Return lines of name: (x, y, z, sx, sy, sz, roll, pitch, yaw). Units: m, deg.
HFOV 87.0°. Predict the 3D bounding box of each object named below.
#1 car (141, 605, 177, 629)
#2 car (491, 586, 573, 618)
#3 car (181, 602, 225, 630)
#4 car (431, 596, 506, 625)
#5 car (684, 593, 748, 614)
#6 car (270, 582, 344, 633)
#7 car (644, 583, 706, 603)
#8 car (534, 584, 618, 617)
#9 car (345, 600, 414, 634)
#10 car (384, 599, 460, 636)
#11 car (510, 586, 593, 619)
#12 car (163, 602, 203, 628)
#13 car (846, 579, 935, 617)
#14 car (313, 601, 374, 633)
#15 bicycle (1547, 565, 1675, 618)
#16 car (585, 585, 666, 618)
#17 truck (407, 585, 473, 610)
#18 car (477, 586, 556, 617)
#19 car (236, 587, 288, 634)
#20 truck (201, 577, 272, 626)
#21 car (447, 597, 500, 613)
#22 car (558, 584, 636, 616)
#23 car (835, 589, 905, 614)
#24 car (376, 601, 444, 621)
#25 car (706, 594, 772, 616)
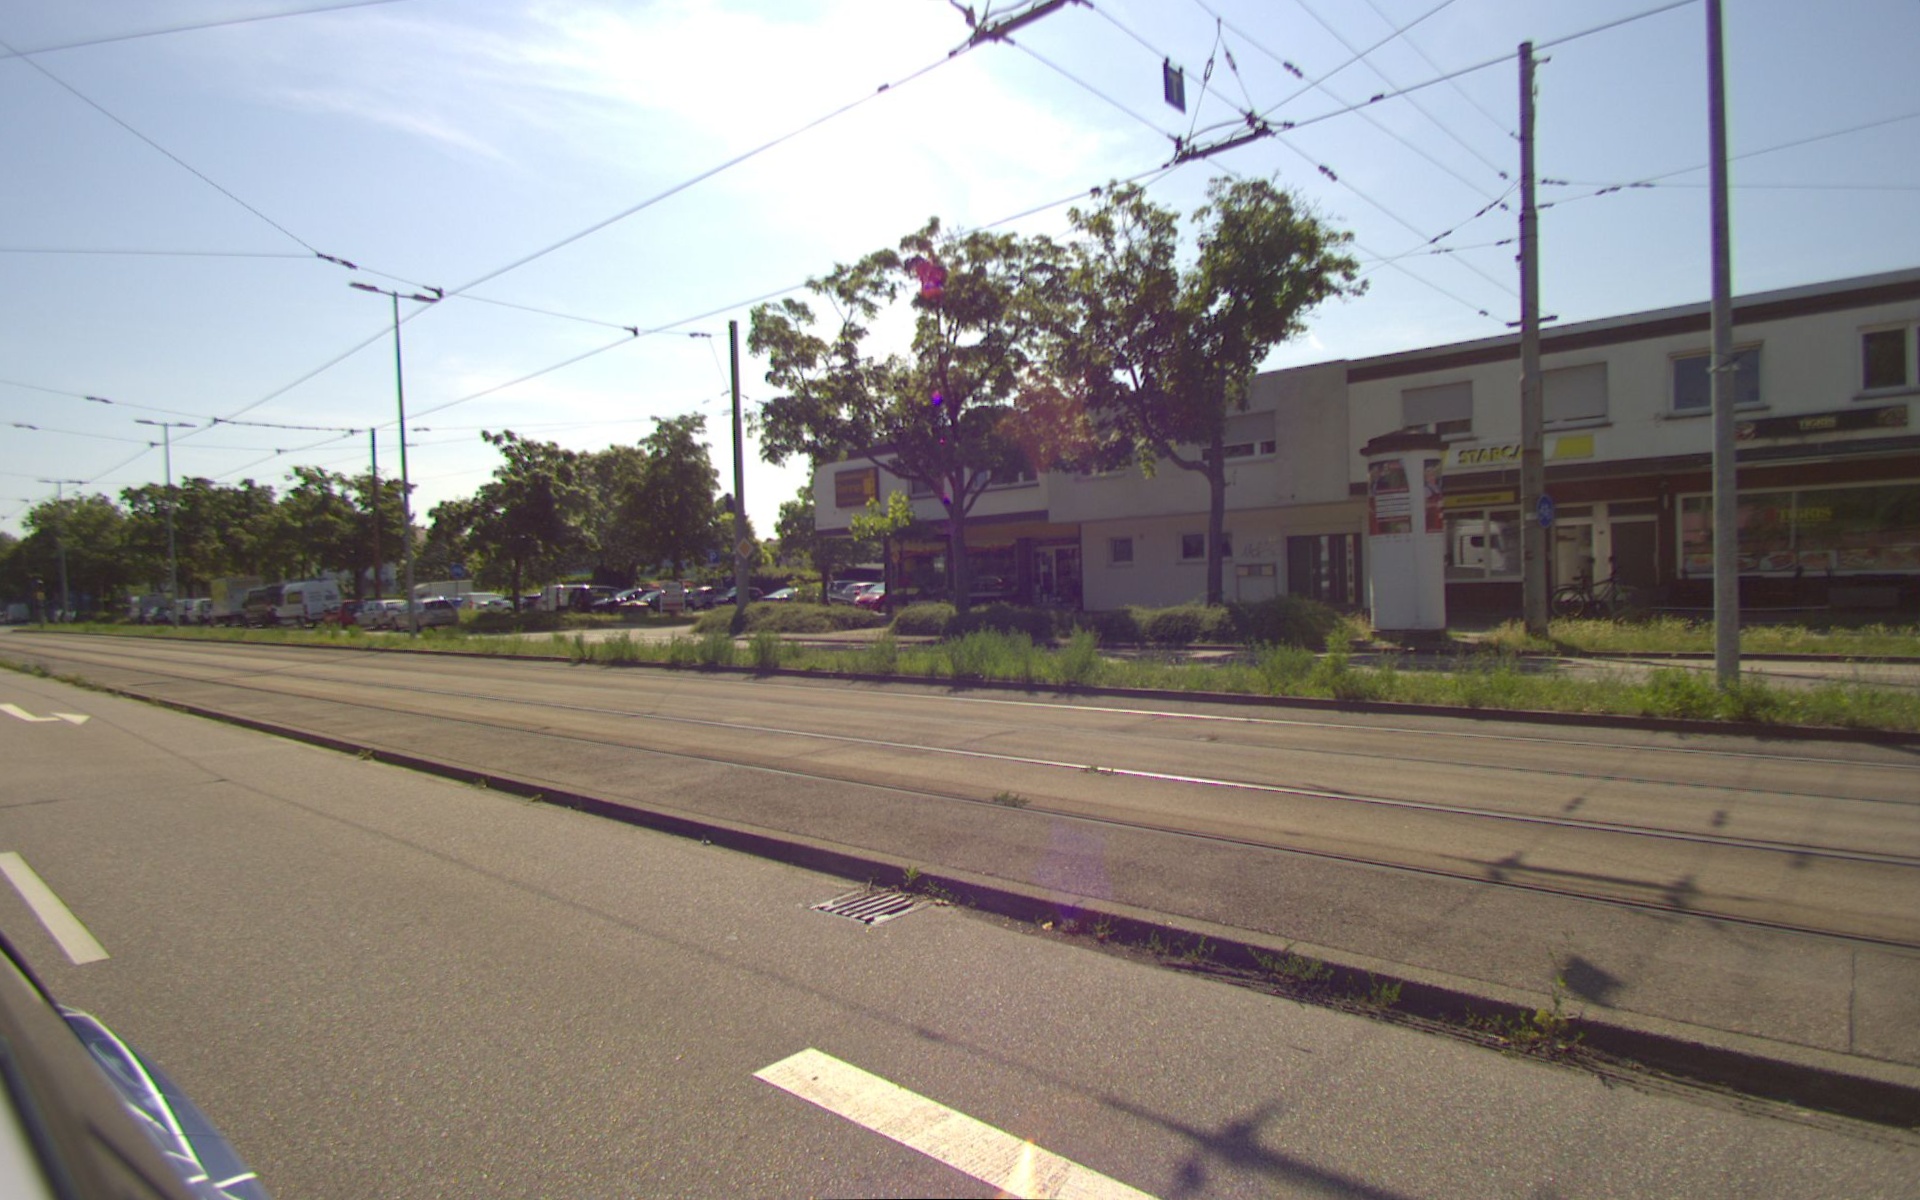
car: (-64.402, 1.392, 81.367, 3.685, 1.799, 1.484, -1, 4, 40)
car: (-25.901, 0.114, 61.345, 1.988, 1.751, 4.068, -1, 1, 38)
car: (-54.726, 1.160, 73.140, 4.631, 1.817, 1.483, -1, 4, 41)
car: (-33.294, 0.713, 68.422, 5.739, 1.825, 2.560, -1, 1, 42)
car: (-17.238, 0.255, 71.608, 1.676, 1.345, 4.197, -1, 1, 42)
car: (-37.249, 0.448, 57.653, 5.201, 2.673, 2.036, -1, 4, 41)
car: (-20.993, -0.506, 74.771, 1.674, 1.345, 4.201, -1, 1, 39)
car: (-22.058, 0.000, 58.189, 1.988, 1.751, 4.068, -1, 1, 38)
car: (-29.303, 0.868, 51.031, 4.255, 1.544, 1.654, -1, 4, 41)
car: (-25.204, 0.823, 47.377, 4.255, 1.544, 1.654, -1, 4, 41)
car: (-24.034, 0.136, 59.670, 1.988, 1.751, 4.068, -1, 1, 38)
car: (-59.747, 1.179, 77.823, 4.056, 1.859, 1.484, -1, 4, 40)
car: (-3.240, -0.115, 47.987, 1.676, 1.616, 4.197, -1, 1, 42)
car: (-33.153, 0.906, 54.369, 3.791, 1.544, 1.654, -1, 4, 41)
bicycle: (14.692, -0.168, 22.896, 2.333, 1.161, 0.779, -1, -1, 42)
car: (-17.958, 0.082, 54.434, 1.676, 1.646, 3.761, -1, 1, 42)
truck: (-52.918, -0.292, 103.105, 1.988, 2.398, 5.584, -1, 1, 38)
car: (-28.021, 0.085, 64.002, 1.988, 1.751, 4.068, -1, 1, 38)
car: (-42.399, 0.637, 61.472, 4.005, 2.643, 1.483, -1, 4, 41)
truck: (-48.283, 0.122, 67.500, 5.902, 2.956, 2.476, -1, 4, 42)
car: (-45.985, 0.436, 95.686, 1.676, 1.345, 4.198, -1, 1, 41)
car: (-20.219, -0.001, 56.459, 1.676, 1.646, 3.761, -1, 1, 42)
car: (-5.443, 0.070, 61.682, 1.676, 1.345, 4.197, -1, 1, 42)
car: (-42.063, 0.819, 77.437, 1.676, 1.345, 4.198, -1, 1, 41)
car: (-15.171, 0.338, 69.669, 1.676, 1.345, 4.197, -1, 1, 42)
